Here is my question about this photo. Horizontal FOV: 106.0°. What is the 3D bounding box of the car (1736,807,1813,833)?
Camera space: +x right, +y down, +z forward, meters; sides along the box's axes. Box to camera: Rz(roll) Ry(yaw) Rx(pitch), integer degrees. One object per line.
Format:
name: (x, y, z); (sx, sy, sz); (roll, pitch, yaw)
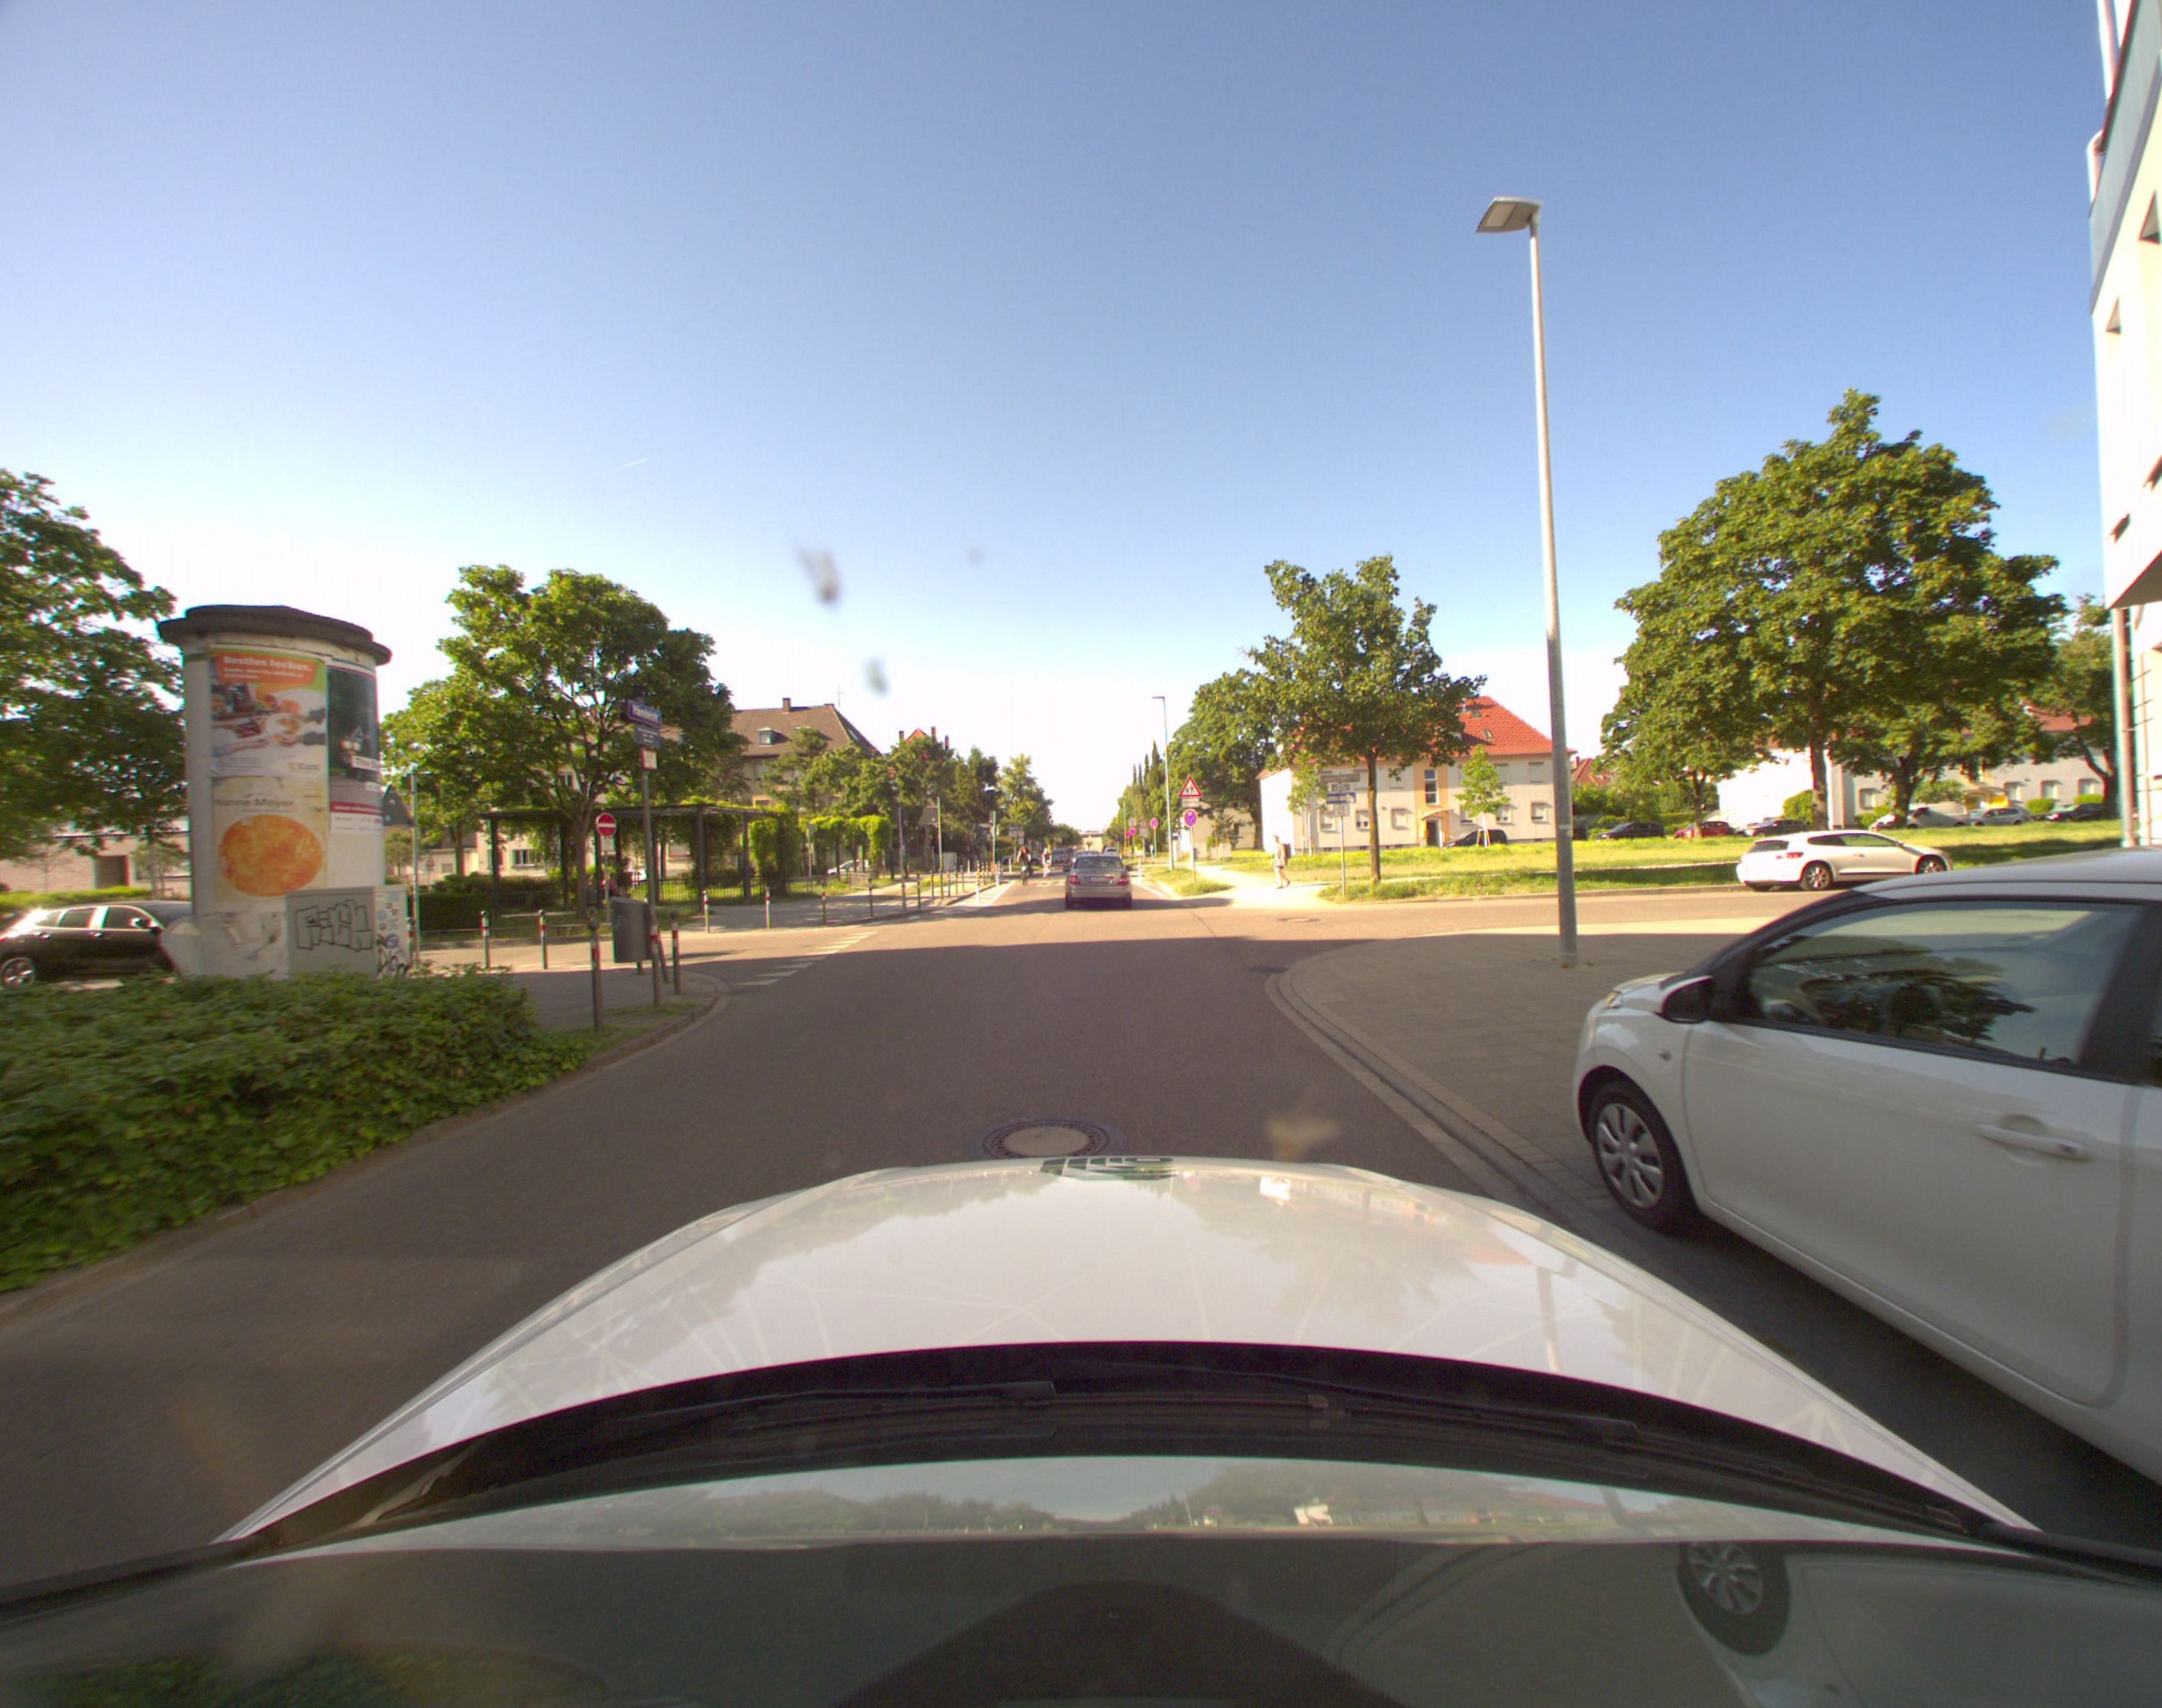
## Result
car: (48.160, -2.319, 56.609); (3.862, 1.550, 1.646); (-3, 0, 2)

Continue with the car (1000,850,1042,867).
car: (-5.830, 0.443, 79.504); (3.976, 1.524, 1.755); (-1, -1, -2)

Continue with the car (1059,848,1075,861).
car: (-1.779, 0.008, 103.146); (1.783, 1.532, 3.995); (-3, 0, -3)

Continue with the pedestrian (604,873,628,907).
pedestrian: (-16.037, 1.236, 28.114); (0.543, 1.168, 0.483); (-1, -1, 2)

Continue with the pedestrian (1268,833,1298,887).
pedestrian: (6.236, 0.176, 25.143); (0.640, 1.623, 0.621); (-3, 0, 39)

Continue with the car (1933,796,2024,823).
car: (61.858, -3.081, 56.192); (4.058, 1.542, 1.870); (-3, 0, 2)

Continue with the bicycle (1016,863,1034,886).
bicycle: (-2.489, 0.889, 36.328); (0.587, 0.931, 1.851); (-3, 0, 2)

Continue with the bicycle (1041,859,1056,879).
bicycle: (-1.640, 0.769, 41.269); (0.587, 0.931, 1.851); (-3, 0, 2)

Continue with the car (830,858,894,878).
car: (-15.366, 0.971, 57.367); (3.976, 1.376, 1.998); (-1, -1, -2)

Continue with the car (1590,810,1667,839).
car: (38.054, -2.029, 56.681); (4.058, 1.784, 1.870); (-3, 0, 2)

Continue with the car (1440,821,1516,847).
car: (27.460, -1.368, 56.434); (4.270, 1.600, 1.901); (-3, 0, 2)

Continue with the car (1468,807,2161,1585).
car: (2.819, 0.633, 2.406); (1.558, 1.410, 3.731); (-7, -1, 2)

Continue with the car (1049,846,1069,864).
car: (-2.341, 0.127, 84.513); (1.869, 1.728, 3.995); (-3, 0, -3)

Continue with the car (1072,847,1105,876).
car: (0.398, 0.397, 43.174); (1.701, 1.448, 4.202); (-1, -1, 0)

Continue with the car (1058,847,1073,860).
car: (-2.086, -0.092, 108.133); (1.783, 1.532, 3.995); (-3, 0, -3)

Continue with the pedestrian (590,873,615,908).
pedestrian: (-16.076, 1.226, 27.362); (0.543, 1.168, 0.483); (-1, -1, 2)

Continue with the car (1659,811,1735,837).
car: (42.626, -2.057, 56.408); (3.862, 1.587, 1.781); (-3, 0, 2)

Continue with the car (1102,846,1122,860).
car: (3.289, -0.127, 87.093); (1.719, 1.330, 3.995); (-3, 0, -3)

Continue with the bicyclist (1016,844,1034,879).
bicyclist: (-2.510, 0.345, 36.366); (0.678, 1.509, 0.655); (-3, 0, 2)

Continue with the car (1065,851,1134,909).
car: (0.529, 0.682, 22.401); (1.720, 1.420, 3.962); (-1, -1, 2)

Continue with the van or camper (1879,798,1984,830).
van or camper: (55.455, -2.570, 53.145); (4.644, 1.784, 2.001); (-3, 0, 2)

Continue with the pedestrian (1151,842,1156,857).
pedestrian: (7.844, -0.475, 88.410); (0.508, 1.559, 0.643); (-1, -1, 2)

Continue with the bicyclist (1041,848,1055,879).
bicyclist: (-1.656, 0.472, 41.319); (0.570, 1.509, 0.655); (-3, 0, 2)

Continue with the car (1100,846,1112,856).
car: (4.368, -0.551, 142.955); (1.783, 1.532, 3.995); (-3, 0, -3)

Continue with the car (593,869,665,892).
car: (-31.970, 1.855, 57.656); (3.977, 1.376, 1.865); (-3, 0, -2)

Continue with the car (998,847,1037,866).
car: (-5.915, 0.223, 75.952); (3.489, 1.533, 1.641); (-3, 0, -6)

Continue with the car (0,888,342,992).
car: (-15.420, 1.437, 13.791); (4.122, 1.485, 1.807); (-3, -5, 1)

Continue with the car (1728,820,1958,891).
car: (17.954, 0.066, 19.324); (3.793, 1.391, 1.604); (-3, -4, 1)
